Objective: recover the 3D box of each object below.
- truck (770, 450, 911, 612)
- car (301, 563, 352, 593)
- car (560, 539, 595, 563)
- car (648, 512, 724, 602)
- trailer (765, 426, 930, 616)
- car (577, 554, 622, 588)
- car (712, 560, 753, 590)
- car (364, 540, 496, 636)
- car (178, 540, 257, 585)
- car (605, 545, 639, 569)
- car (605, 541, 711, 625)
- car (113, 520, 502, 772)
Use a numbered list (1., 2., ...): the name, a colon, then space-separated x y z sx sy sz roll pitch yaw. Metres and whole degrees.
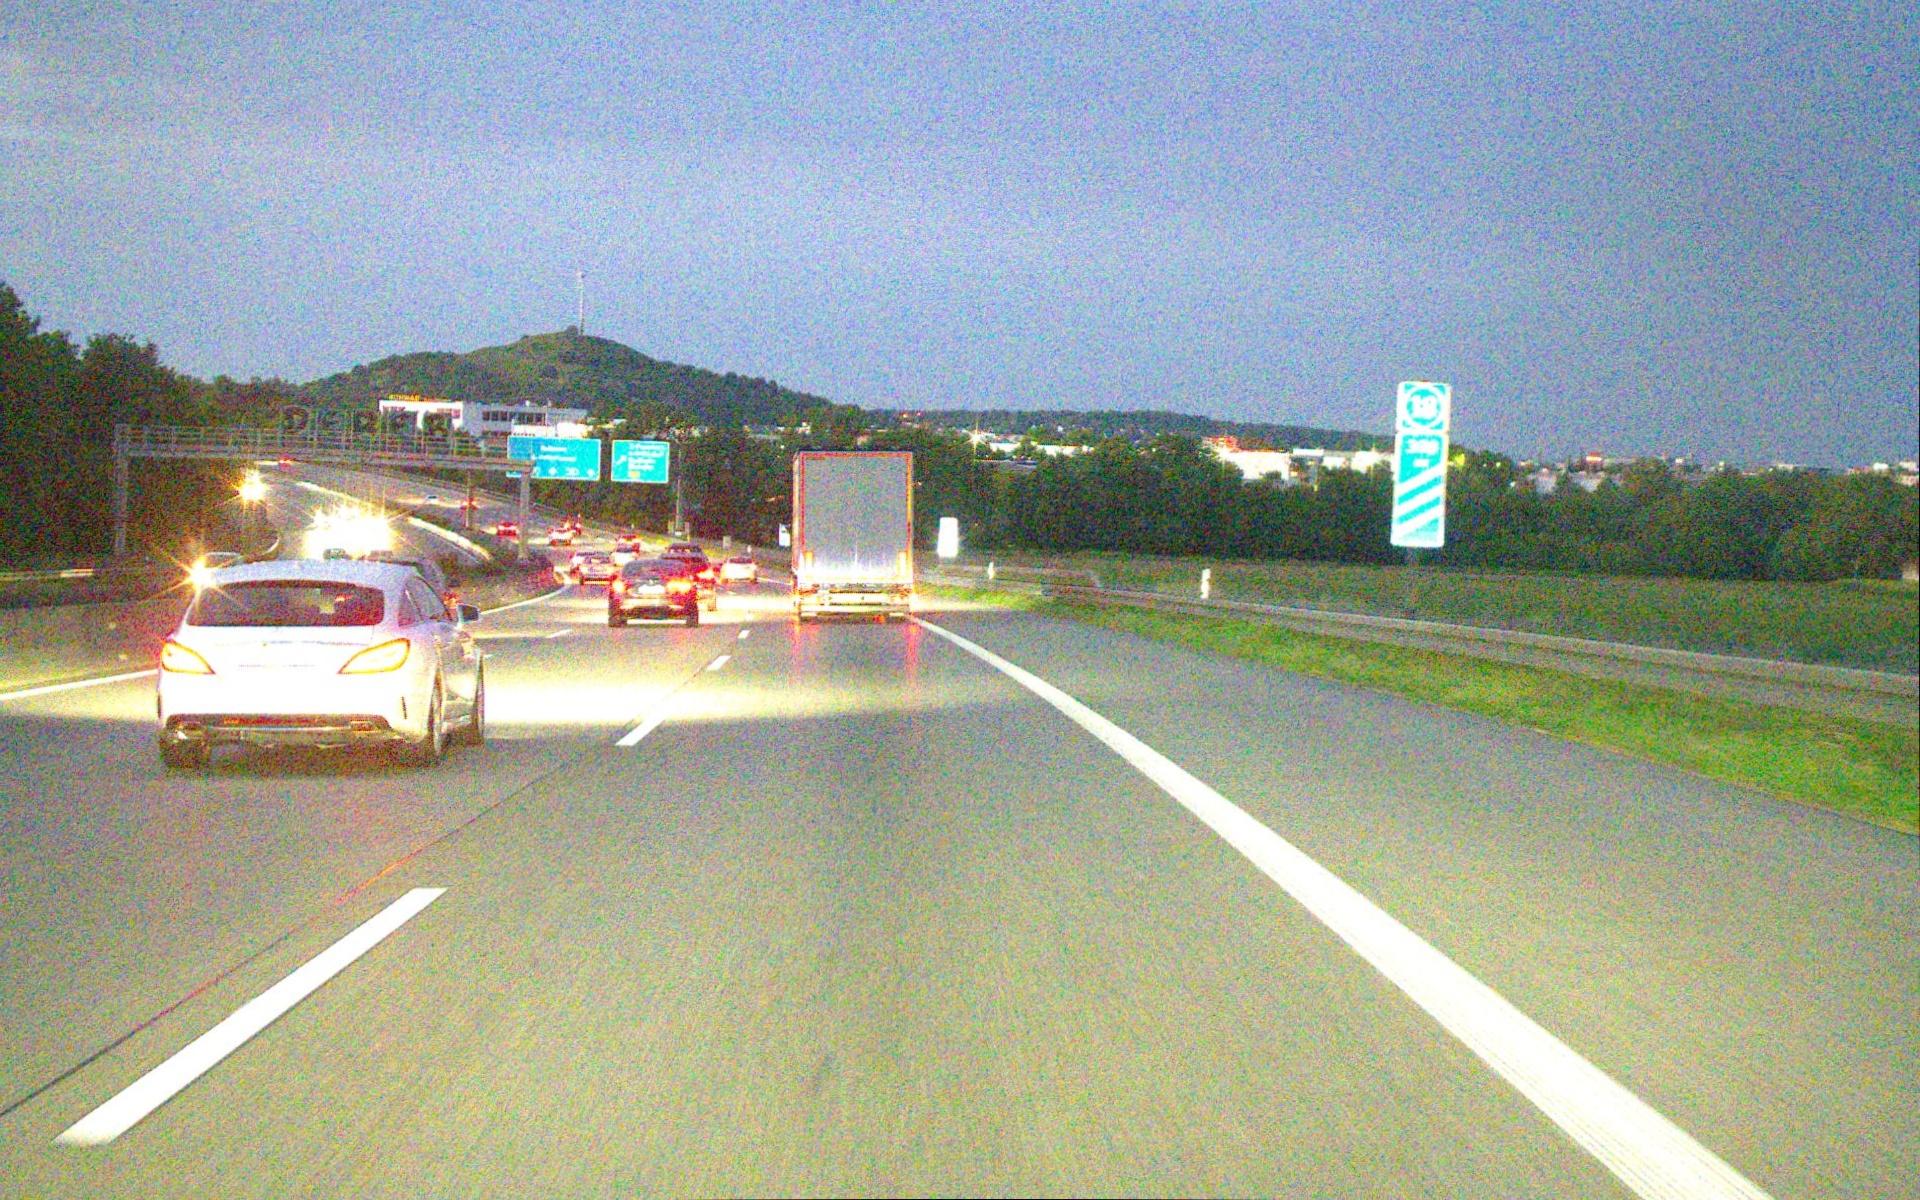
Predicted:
1. truck: -3.182 -1.761 90.201 3.550 4.077 6.152 1 0 -3
2. car: -29.195 -1.038 158.632 1.834 1.331 4.910 1 0 -5
3. car: -24.413 -3.116 219.368 1.993 1.463 4.001 1 0 -10
4. car: -7.486 -1.156 93.737 1.993 2.372 4.001 1 0 -5
5. trailer: -2.826 -1.744 82.587 3.550 4.102 15.064 1 0 -3
6. car: -17.730 -1.409 169.076 1.993 1.616 4.001 1 0 -8
7. car: -11.649 -1.289 176.090 1.993 1.529 4.001 1 0 -5
8. car: -9.052 -0.219 59.016 1.761 1.569 4.577 1 0 -3
9. car: -25.126 -1.264 116.438 1.993 1.448 3.835 1 0 -3
10. car: -23.930 -3.034 243.140 1.993 1.616 4.001 1 0 -11
11. car: -6.377 -0.371 72.982 2.065 1.680 4.577 1 0 -3
12. car: -4.562 0.280 24.745 1.906 1.609 4.804 1 0 0
